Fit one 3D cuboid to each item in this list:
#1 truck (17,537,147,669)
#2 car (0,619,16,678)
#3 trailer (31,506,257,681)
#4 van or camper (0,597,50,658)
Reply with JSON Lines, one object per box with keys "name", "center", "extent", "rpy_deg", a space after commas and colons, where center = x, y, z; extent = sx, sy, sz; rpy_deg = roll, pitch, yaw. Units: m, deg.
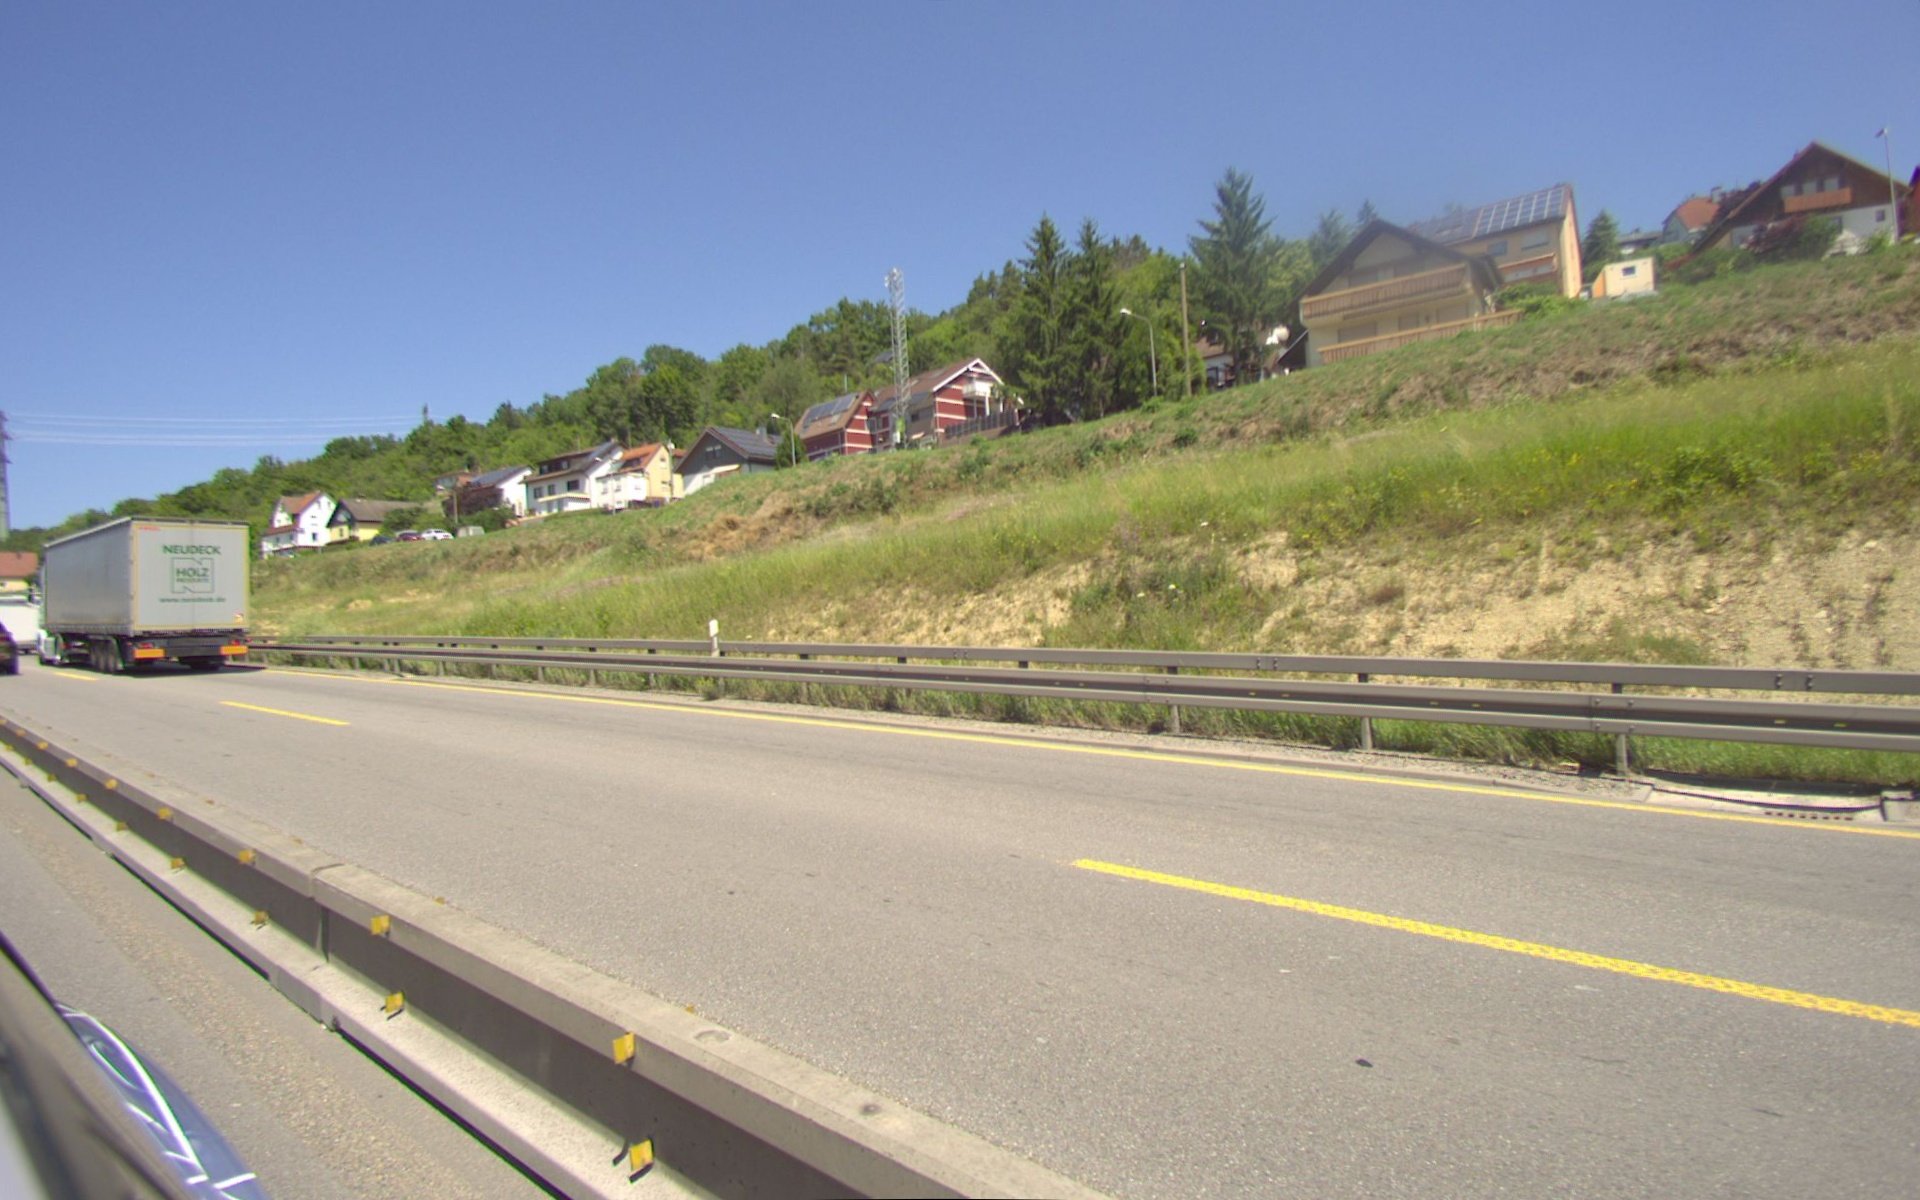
{"name": "truck", "center": [-30.986, 0.125, 35.680], "extent": [4.673, 4.319, 2.746], "rpy_deg": [-2, -1, 40]}
{"name": "car", "center": [-28.193, 1.376, 28.553], "extent": [4.171, 1.598, 1.830], "rpy_deg": [-2, 0, 41]}
{"name": "trailer", "center": [-25.077, -0.026, 30.610], "extent": [14.025, 4.319, 2.782], "rpy_deg": [-2, -1, 41]}
{"name": "van or camper", "center": [-46.862, 1.346, 49.660], "extent": [7.512, 2.798, 2.310], "rpy_deg": [-2, -1, 41]}
